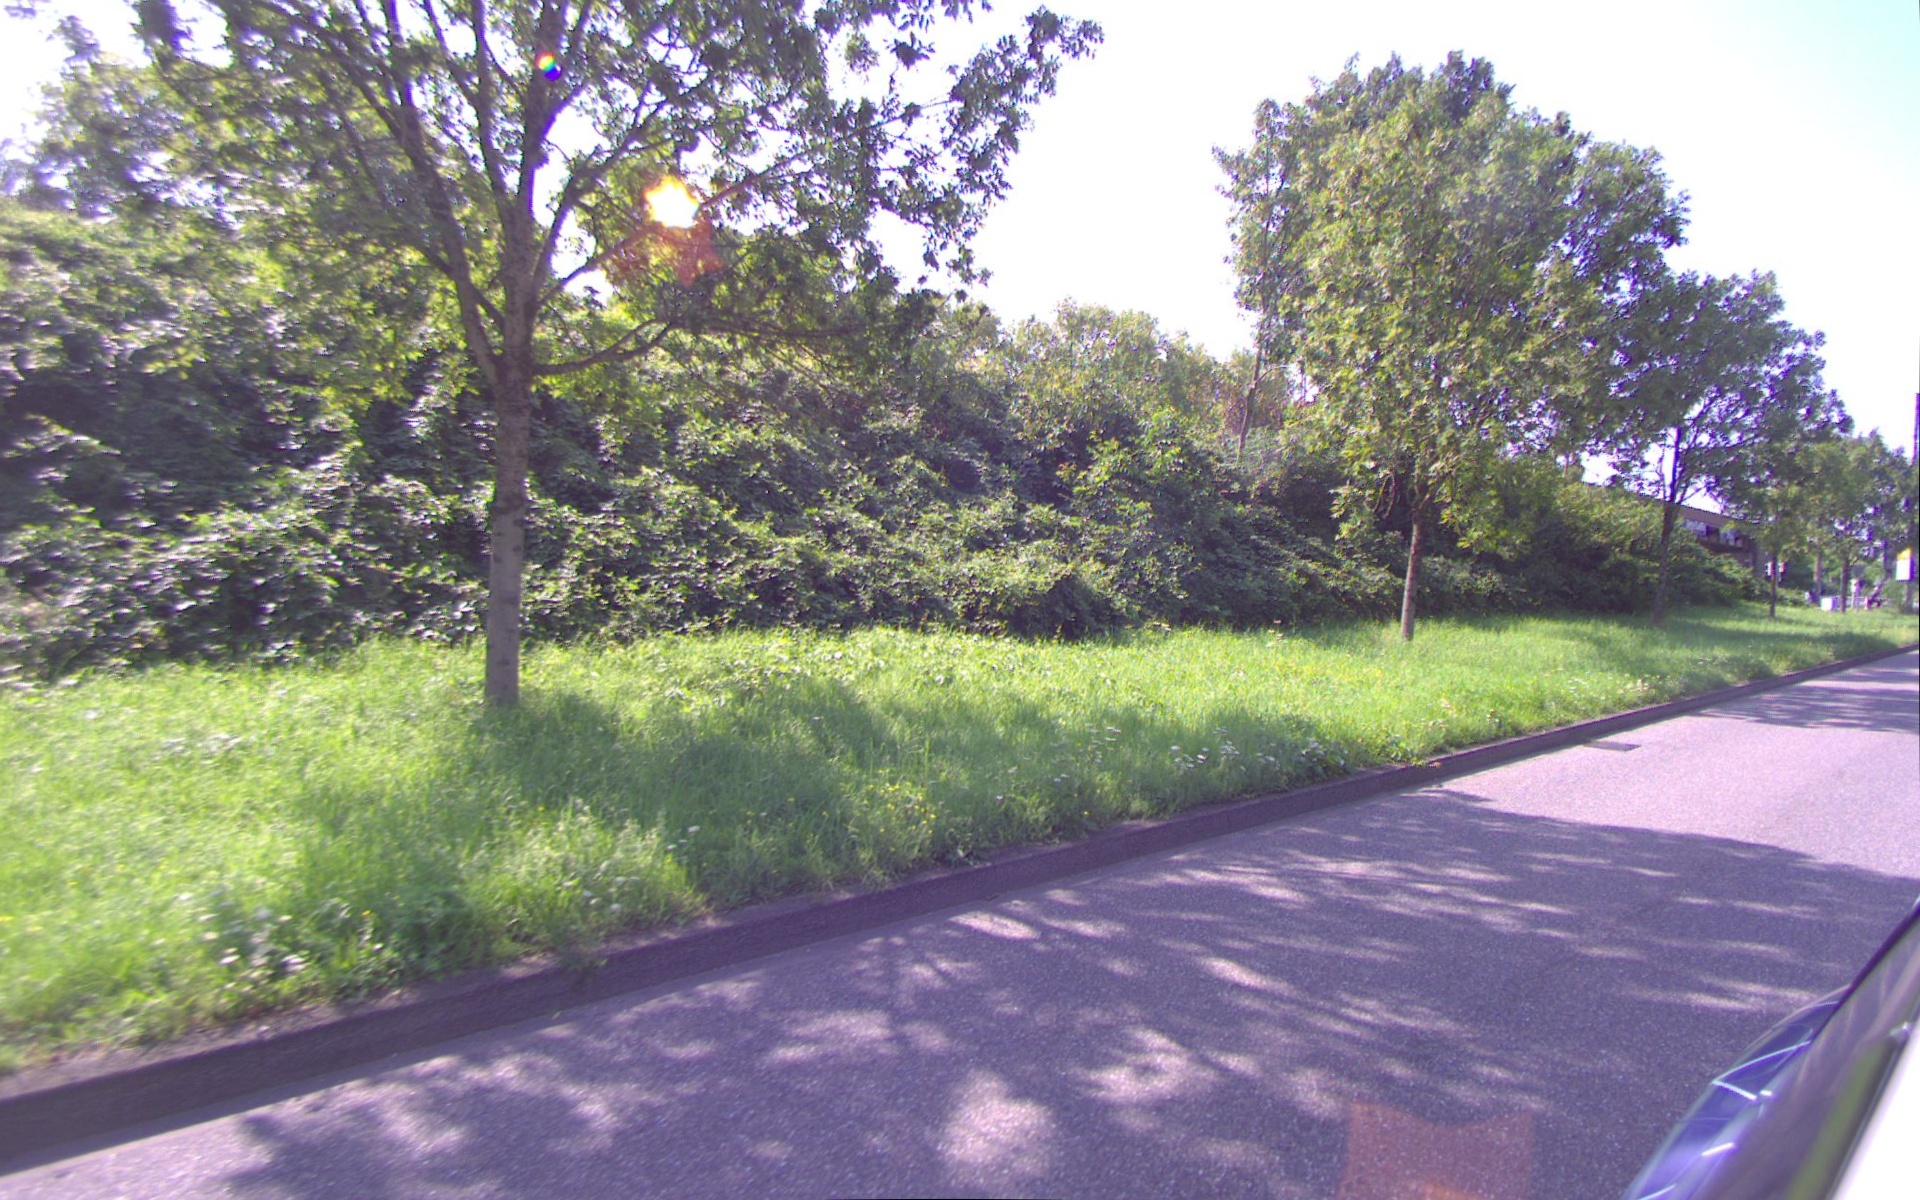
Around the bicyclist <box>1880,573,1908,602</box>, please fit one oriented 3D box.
[{"bbox_3d":[55.997,-0.738,60.677,0.960,1.679,0.707,2,1,24],"label":"bicyclist"}]

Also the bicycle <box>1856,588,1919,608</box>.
[{"bbox_3d":[55.887,-0.109,60.656,2.946,1.062,1.225,2,1,24],"label":"bicycle"}]
